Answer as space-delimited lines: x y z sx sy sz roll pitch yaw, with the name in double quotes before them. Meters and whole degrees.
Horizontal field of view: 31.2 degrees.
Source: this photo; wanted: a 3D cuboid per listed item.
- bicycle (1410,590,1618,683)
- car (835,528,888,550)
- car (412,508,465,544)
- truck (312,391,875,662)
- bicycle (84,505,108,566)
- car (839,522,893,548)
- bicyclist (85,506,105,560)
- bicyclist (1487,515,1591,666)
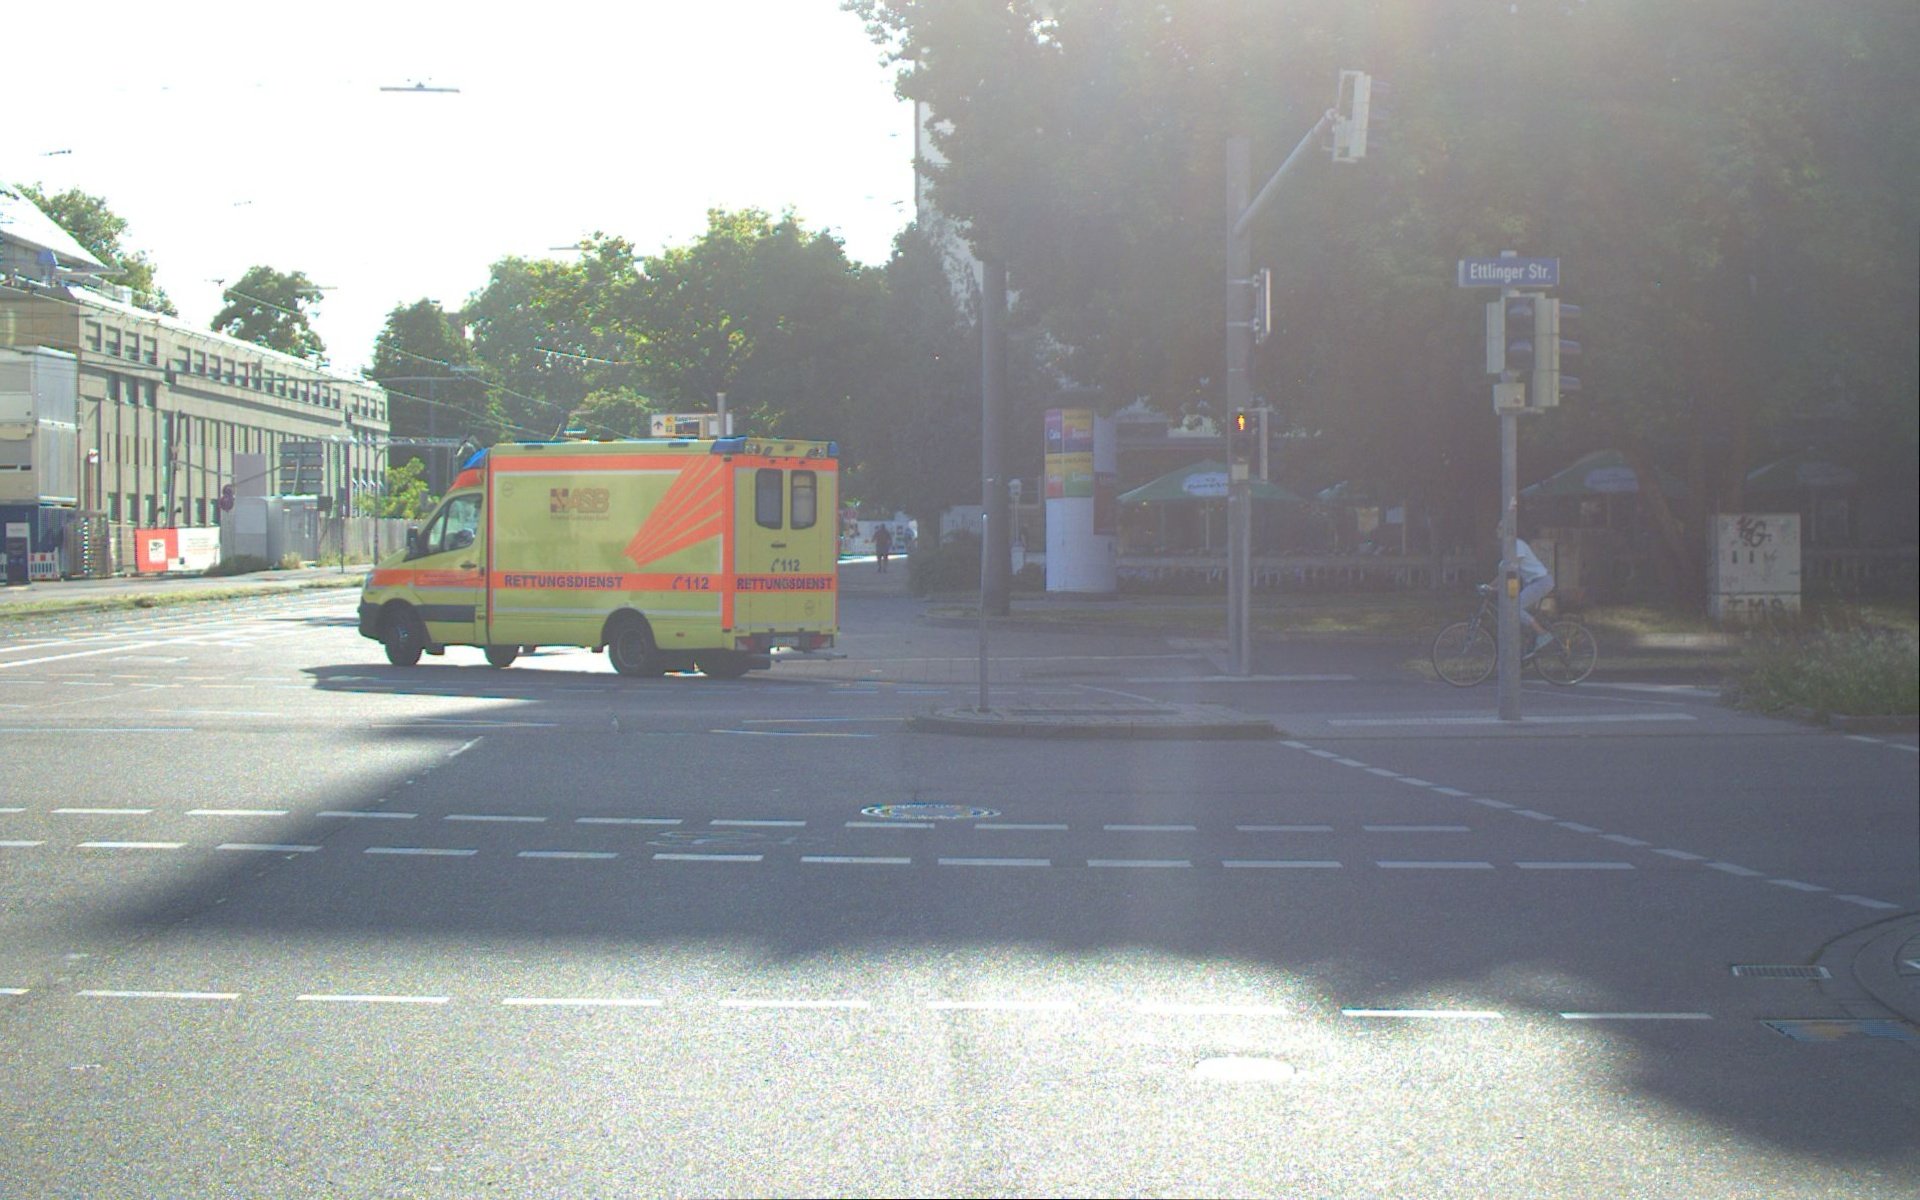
"bicycle" 5.769 0.376 35.834 2.064 0.930 0.575 0 1 -1
"car" -6.036 -3.754 211.158 3.217 1.259 1.373 1 0 0
"car" -23.702 -3.369 156.388 1.894 1.601 4.501 -1 1 -2
"truck" -4.441 -0.862 41.112 6.481 3.005 2.720 1 1 35
"bicycle" -32.754 -2.433 130.290 0.571 2.288 1.422 0 1 -2
"car" -5.838 -4.049 213.407 3.214 1.583 1.446 1 0 -4
"bicyclist" -32.752 -2.534 130.235 0.571 2.017 0.762 0 1 -2
"bicyclist" 6.032 -0.106 35.845 0.974 1.555 0.575 0 1 -1
